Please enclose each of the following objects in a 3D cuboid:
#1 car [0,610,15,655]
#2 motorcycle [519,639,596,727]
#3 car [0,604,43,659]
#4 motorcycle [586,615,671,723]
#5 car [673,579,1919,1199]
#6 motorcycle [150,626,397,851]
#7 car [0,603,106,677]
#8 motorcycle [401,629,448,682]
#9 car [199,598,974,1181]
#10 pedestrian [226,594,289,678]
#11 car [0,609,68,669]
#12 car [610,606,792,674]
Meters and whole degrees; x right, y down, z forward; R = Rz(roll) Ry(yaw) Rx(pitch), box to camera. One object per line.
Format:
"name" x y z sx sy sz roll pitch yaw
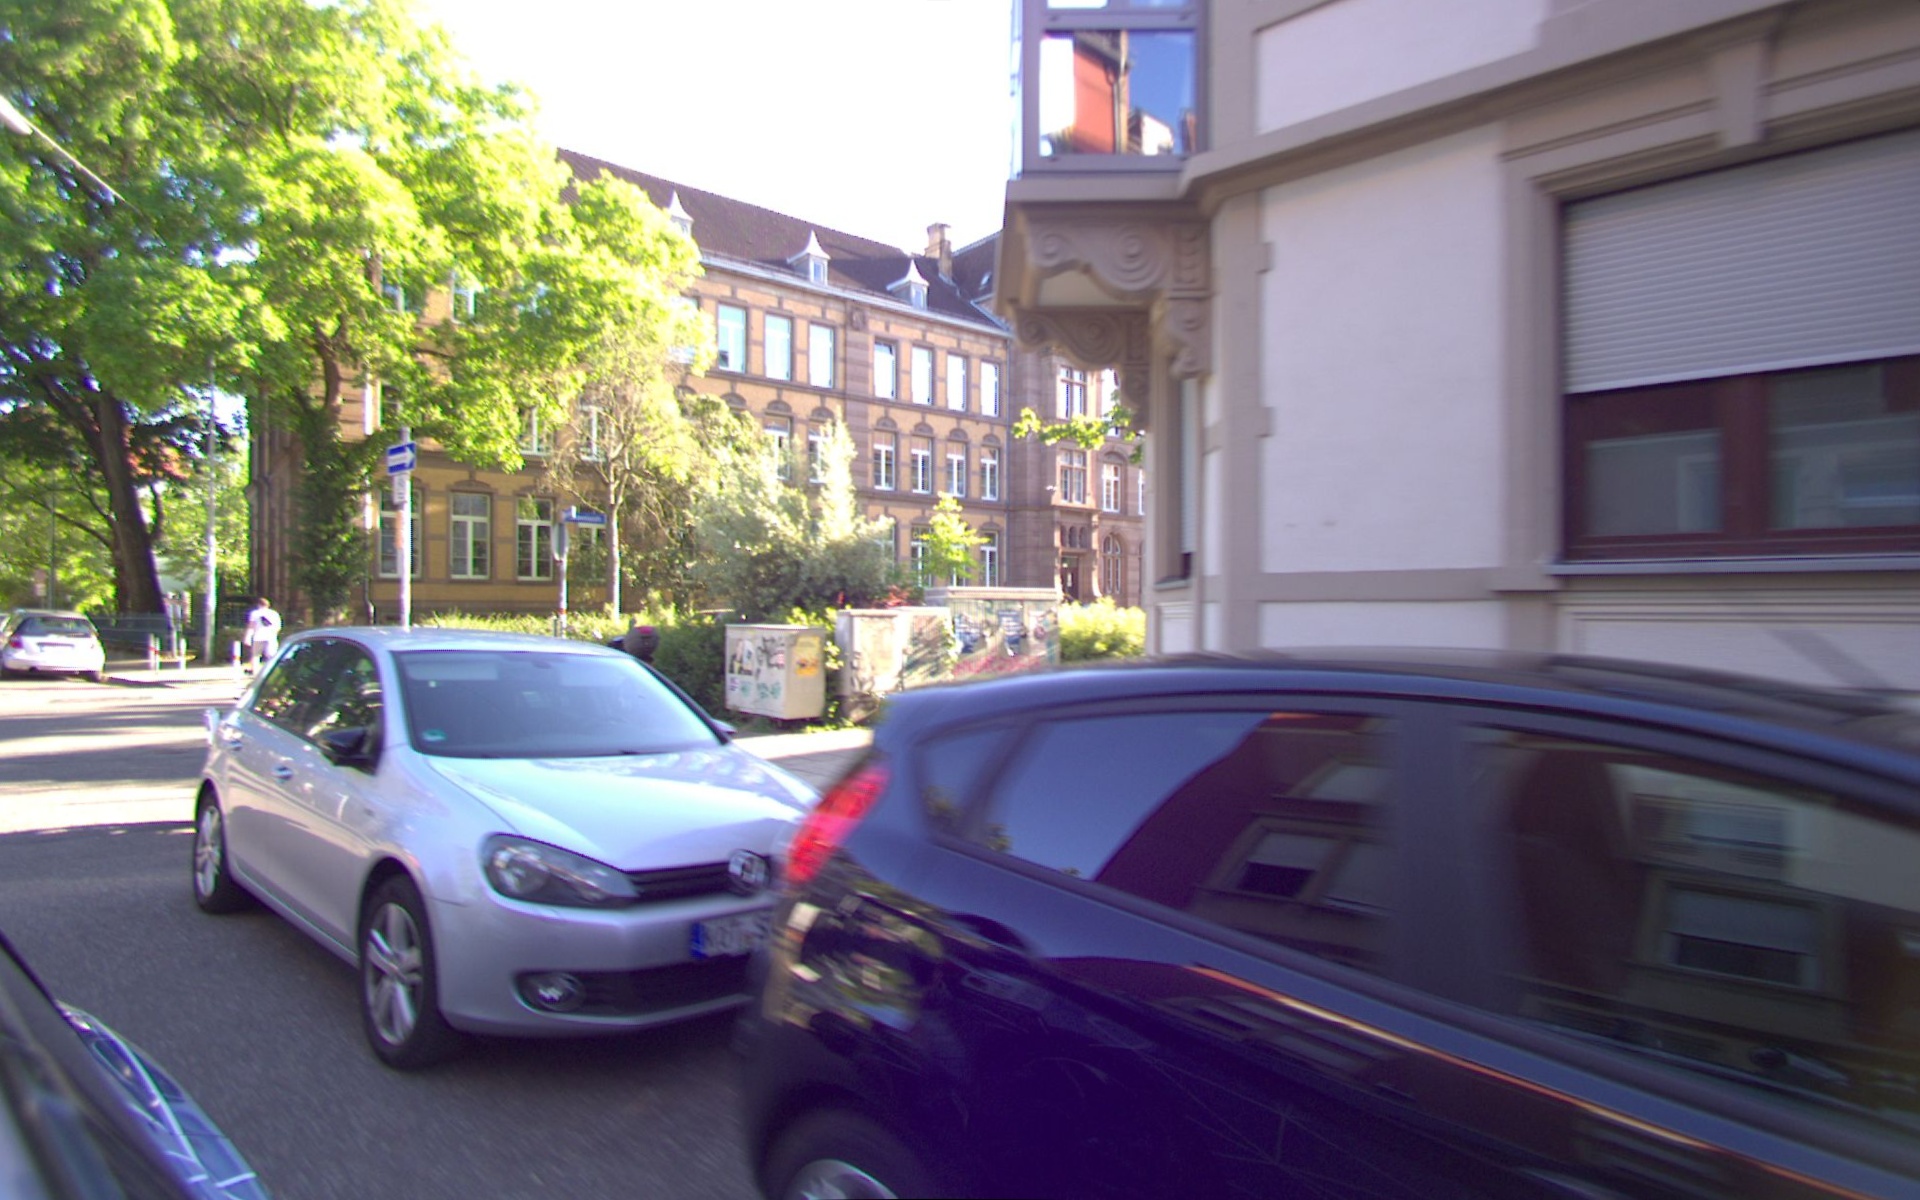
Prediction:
"car" -32.823 1.064 33.686 3.309 1.475 1.603 -1 -3 41
"motorcycle" -5.703 1.132 14.287 0.630 1.098 1.875 1 -1 -34
"car" -28.840 0.916 30.058 3.997 1.545 1.770 -1 -5 40
"motorcycle" -4.169 0.811 12.619 0.603 1.205 2.050 1 0 -29
"car" 1.370 0.741 1.538 3.741 1.494 1.762 -1 -1 42
"motorcycle" -4.763 0.872 6.974 1.995 1.344 0.670 -1 -4 35
"car" -21.318 0.900 23.410 3.950 1.570 1.688 0 -4 41
"motorcycle" -11.944 1.205 22.552 0.536 1.110 1.899 1 -2 -40
"car" -1.967 0.777 4.611 3.933 1.494 1.761 -1 -1 43
"pedestrian" -15.116 0.757 21.780 1.004 1.759 0.796 -1 -2 35
"car" -25.422 0.979 26.898 3.991 1.475 1.567 1 -4 35
"car" -6.534 0.969 25.789 4.081 1.587 1.887 1 -1 -42
